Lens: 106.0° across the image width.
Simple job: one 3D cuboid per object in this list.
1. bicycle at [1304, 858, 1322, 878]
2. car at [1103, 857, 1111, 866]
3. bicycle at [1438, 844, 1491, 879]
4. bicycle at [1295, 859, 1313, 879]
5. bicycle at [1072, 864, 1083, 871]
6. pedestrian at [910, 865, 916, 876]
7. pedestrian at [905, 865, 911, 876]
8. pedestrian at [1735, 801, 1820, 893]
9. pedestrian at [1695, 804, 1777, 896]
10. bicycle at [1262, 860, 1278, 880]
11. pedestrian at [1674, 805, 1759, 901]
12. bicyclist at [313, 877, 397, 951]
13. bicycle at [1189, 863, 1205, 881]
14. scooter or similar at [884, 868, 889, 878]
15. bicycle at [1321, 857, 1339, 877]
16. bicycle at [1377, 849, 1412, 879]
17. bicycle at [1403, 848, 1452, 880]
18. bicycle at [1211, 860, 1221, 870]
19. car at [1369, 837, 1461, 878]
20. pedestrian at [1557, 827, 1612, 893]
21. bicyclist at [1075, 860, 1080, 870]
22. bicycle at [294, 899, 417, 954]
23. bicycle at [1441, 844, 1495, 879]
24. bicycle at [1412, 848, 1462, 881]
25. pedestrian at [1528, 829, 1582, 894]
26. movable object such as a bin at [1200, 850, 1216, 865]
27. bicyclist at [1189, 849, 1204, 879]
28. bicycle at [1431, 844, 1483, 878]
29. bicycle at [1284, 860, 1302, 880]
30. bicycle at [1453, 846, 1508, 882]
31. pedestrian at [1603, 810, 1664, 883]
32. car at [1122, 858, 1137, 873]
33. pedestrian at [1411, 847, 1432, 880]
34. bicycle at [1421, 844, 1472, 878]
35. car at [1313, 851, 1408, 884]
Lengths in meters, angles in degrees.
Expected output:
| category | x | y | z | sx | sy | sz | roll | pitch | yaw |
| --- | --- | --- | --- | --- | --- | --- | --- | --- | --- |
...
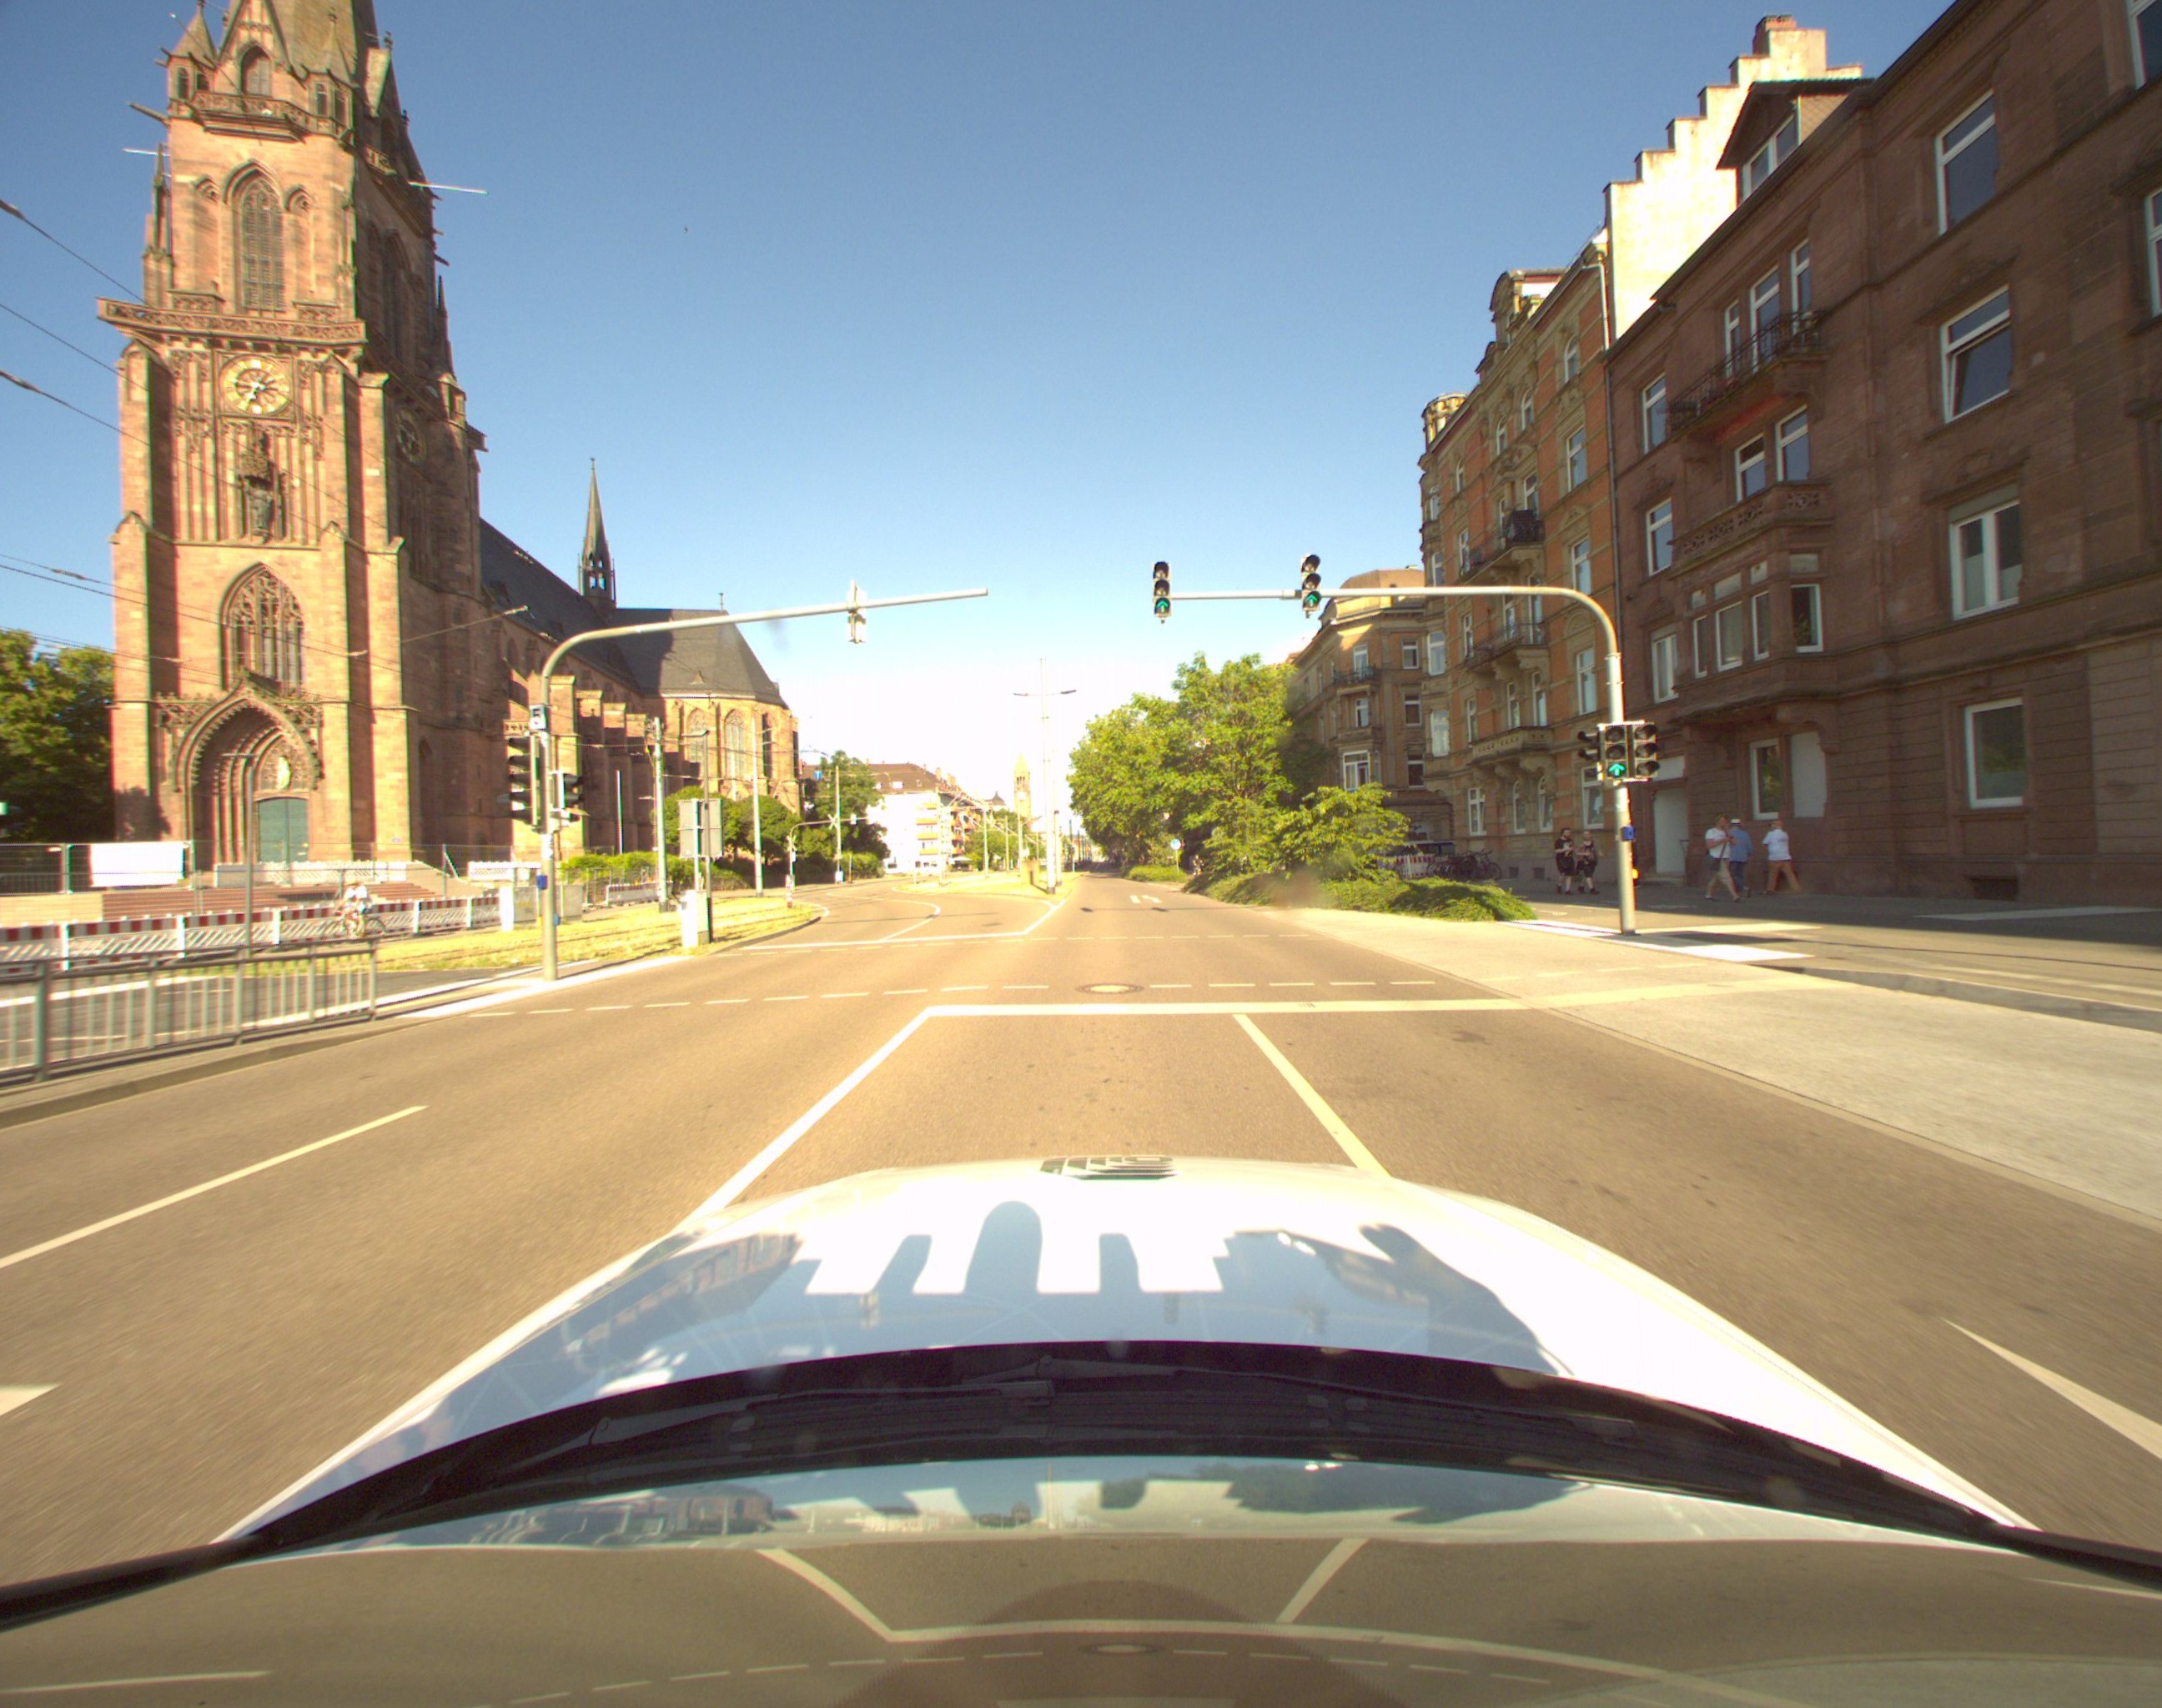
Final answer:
| category | x | y | z | sx | sy | sz | roll | pitch | yaw |
| --- | --- | --- | --- | --- | --- | --- | --- | --- | --- |
| bicycle | 13.558 | 0.818 | 47.550 | 0.516 | 1.047 | 1.821 | -3 | 2 | 1 |
| car | 6.695 | 1.982 | 205.746 | 1.986 | 2.107 | 4.001 | 0 | -1 | 2 |
| bicycle | 15.027 | 0.298 | 31.933 | 1.884 | 1.239 | 0.488 | -3 | -2 | -12 |
| bicycle | 13.010 | 0.851 | 47.534 | 0.516 | 1.047 | 1.821 | -3 | 2 | 1 |
| bicycle | -0.579 | 2.247 | 137.733 | 1.813 | 1.047 | 0.572 | -4 | 2 | -7 |
| pedestrian | -25.351 | 2.508 | 122.796 | 0.587 | 1.467 | 0.917 | -3 | 2 | 2 |
| pedestrian | -26.095 | 2.485 | 122.797 | 0.641 | 1.598 | 0.898 | -3 | 2 | 2 |
| pedestrian | 15.348 | -0.139 | 17.980 | 0.819 | 1.930 | 1.137 | -3 | -1 | 1 |
| pedestrian | 14.387 | -0.080 | 17.925 | 0.819 | 1.930 | 1.137 | -3 | -1 | 1 |
| bicycle | 11.287 | 0.933 | 48.596 | 0.516 | 1.047 | 1.821 | -3 | 2 | 1 |
| pedestrian | 13.319 | -0.018 | 17.100 | 0.819 | 1.930 | 1.137 | -3 | -1 | 1 |
| bicyclist | -19.755 | 1.613 | 22.198 | 0.961 | 1.808 | 1.317 | -5 | 2 | -6 |
| bicycle | 7.163 | 1.101 | 50.371 | 0.639 | 1.048 | 2.360 | -3 | -2 | 1 |
| scooter or similar | -27.410 | 2.720 | 114.779 | 0.400 | 1.261 | 1.231 | -3 | 2 | 2 |
| bicycle | 14.736 | 0.763 | 48.235 | 0.516 | 1.047 | 1.821 | -3 | 2 | 1 |
| bicycle | 13.543 | 0.442 | 35.249 | 0.488 | 1.239 | 1.884 | -3 | -2 | -8 |
| bicycle | 14.522 | 0.428 | 34.135 | 1.884 | 1.239 | 0.488 | -3 | -2 | -12 |
| bicycle | 12.072 | 1.005 | 72.867 | 0.766 | 0.854 | 0.375 | -3 | 2 | -2 |
| car | 19.126 | 0.189 | 46.740 | 4.563 | 2.124 | 1.775 | -2 | 2 | -1 |
| pedestrian | 13.369 | 0.160 | 21.634 | 0.700 | 1.656 | 1.137 | -3 | -1 | 1 |
| bicyclist | -0.546 | 1.895 | 137.726 | 0.748 | 1.557 | 0.572 | -4 | 2 | -7 |
| bicycle | -19.736 | 1.926 | 22.280 | 0.961 | 1.096 | 2.818 | -5 | 2 | -6 |
| bicycle | 14.895 | 0.284 | 31.317 | 1.884 | 1.239 | 0.488 | -3 | -2 | -12 |
| bicycle | 14.652 | 0.444 | 33.548 | 1.884 | 1.239 | 0.488 | -3 | -2 | -12 |
| pedestrian | 12.590 | 0.205 | 21.657 | 0.700 | 1.656 | 1.137 | -3 | -1 | 1 |
| movable object such as a bin | 12.047 | 0.348 | 77.221 | 1.228 | 1.382 | 1.257 | -3 | 0 | 0 |
| bicyclist | 7.133 | 0.614 | 50.351 | 0.639 | 1.815 | 1.052 | -3 | -2 | 1 |
| bicycle | 15.009 | 0.274 | 32.521 | 1.884 | 1.239 | 0.488 | -3 | -2 | -12 |
| bicycle | 12.372 | 0.911 | 47.537 | 0.516 | 1.047 | 1.821 | -3 | 2 | 1 |
| bicycle | 15.101 | 0.382 | 30.772 | 1.884 | 1.239 | 0.488 | -3 | -2 | -12 |
| pedestrian | 15.163 | -0.193 | 22.384 | 0.819 | 1.930 | 1.137 | -3 | -1 | 1 |
| car | 5.667 | 1.329 | 95.748 | 1.637 | 1.511 | 4.184 | -3 | 0 | 2 |
| pedestrian | 16.548 | 0.456 | 39.595 | 0.694 | 1.534 | 0.665 | -3 | -1 | 42 |
| bicycle | 14.811 | 0.294 | 32.998 | 1.884 | 1.239 | 0.488 | -3 | -2 | -12 |
| car | 14.198 | 0.672 | 41.510 | 4.236 | 1.415 | 1.813 | -3 | 2 | 1 |
